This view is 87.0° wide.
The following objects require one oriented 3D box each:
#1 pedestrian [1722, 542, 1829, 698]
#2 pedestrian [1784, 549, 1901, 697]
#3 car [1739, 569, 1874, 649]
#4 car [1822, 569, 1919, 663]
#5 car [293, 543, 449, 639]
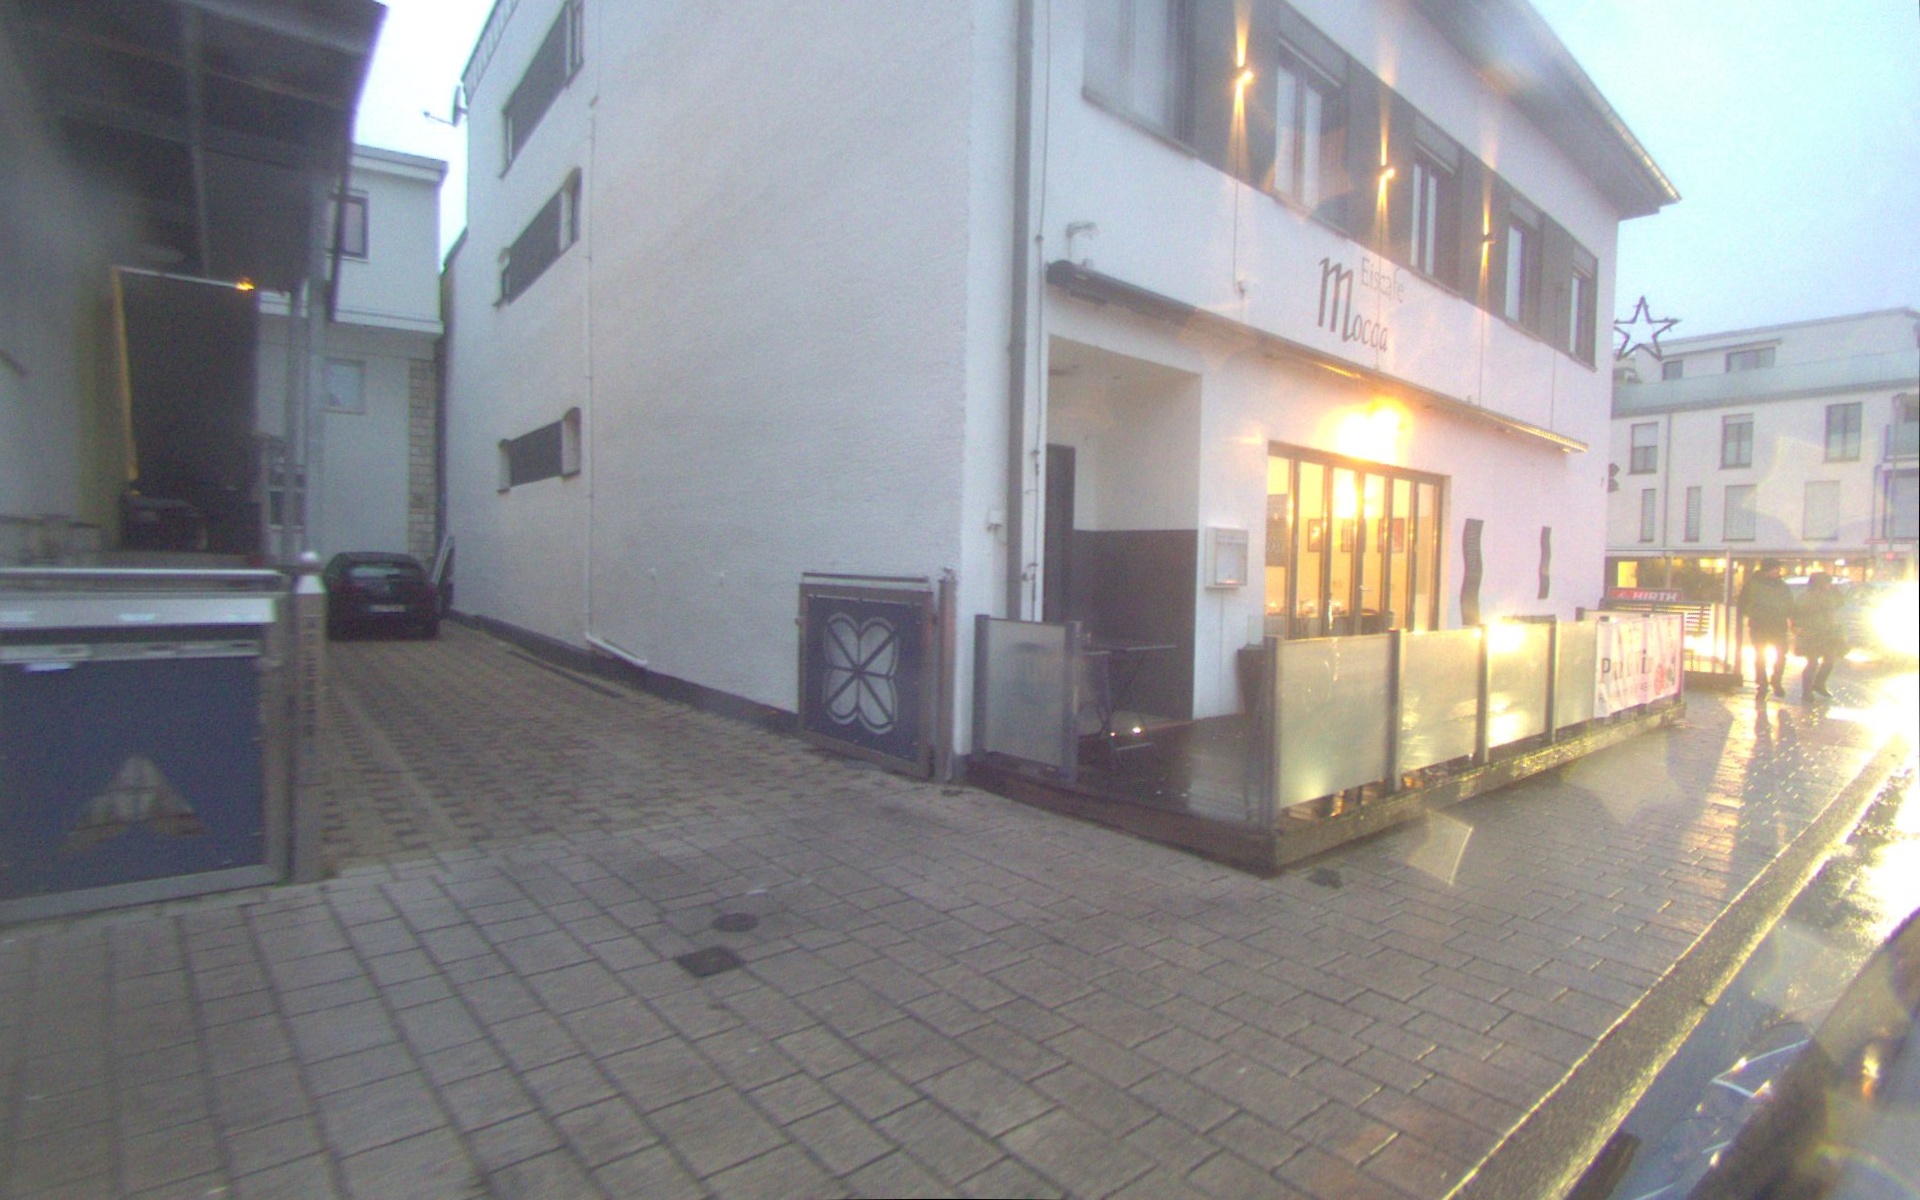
[{"bbox_3d":[10.269,0.238,12.777,0.696,1.889,0.791,-1,1,3],"label":"pedestrian"},{"bbox_3d":[11.021,0.271,12.664,0.754,1.783,0.791,-1,1,3],"label":"pedestrian"},{"bbox_3d":[21.318,0.157,25.436,3.928,1.767,1.825,-3,2,-38],"label":"car"},{"bbox_3d":[18.095,0.220,18.771,2.007,1.497,4.522,-1,2,24],"label":"car"},{"bbox_3d":[-10.629,-0.207,18.131,1.901,1.433,3.962,2,2,-38],"label":"car"}]
